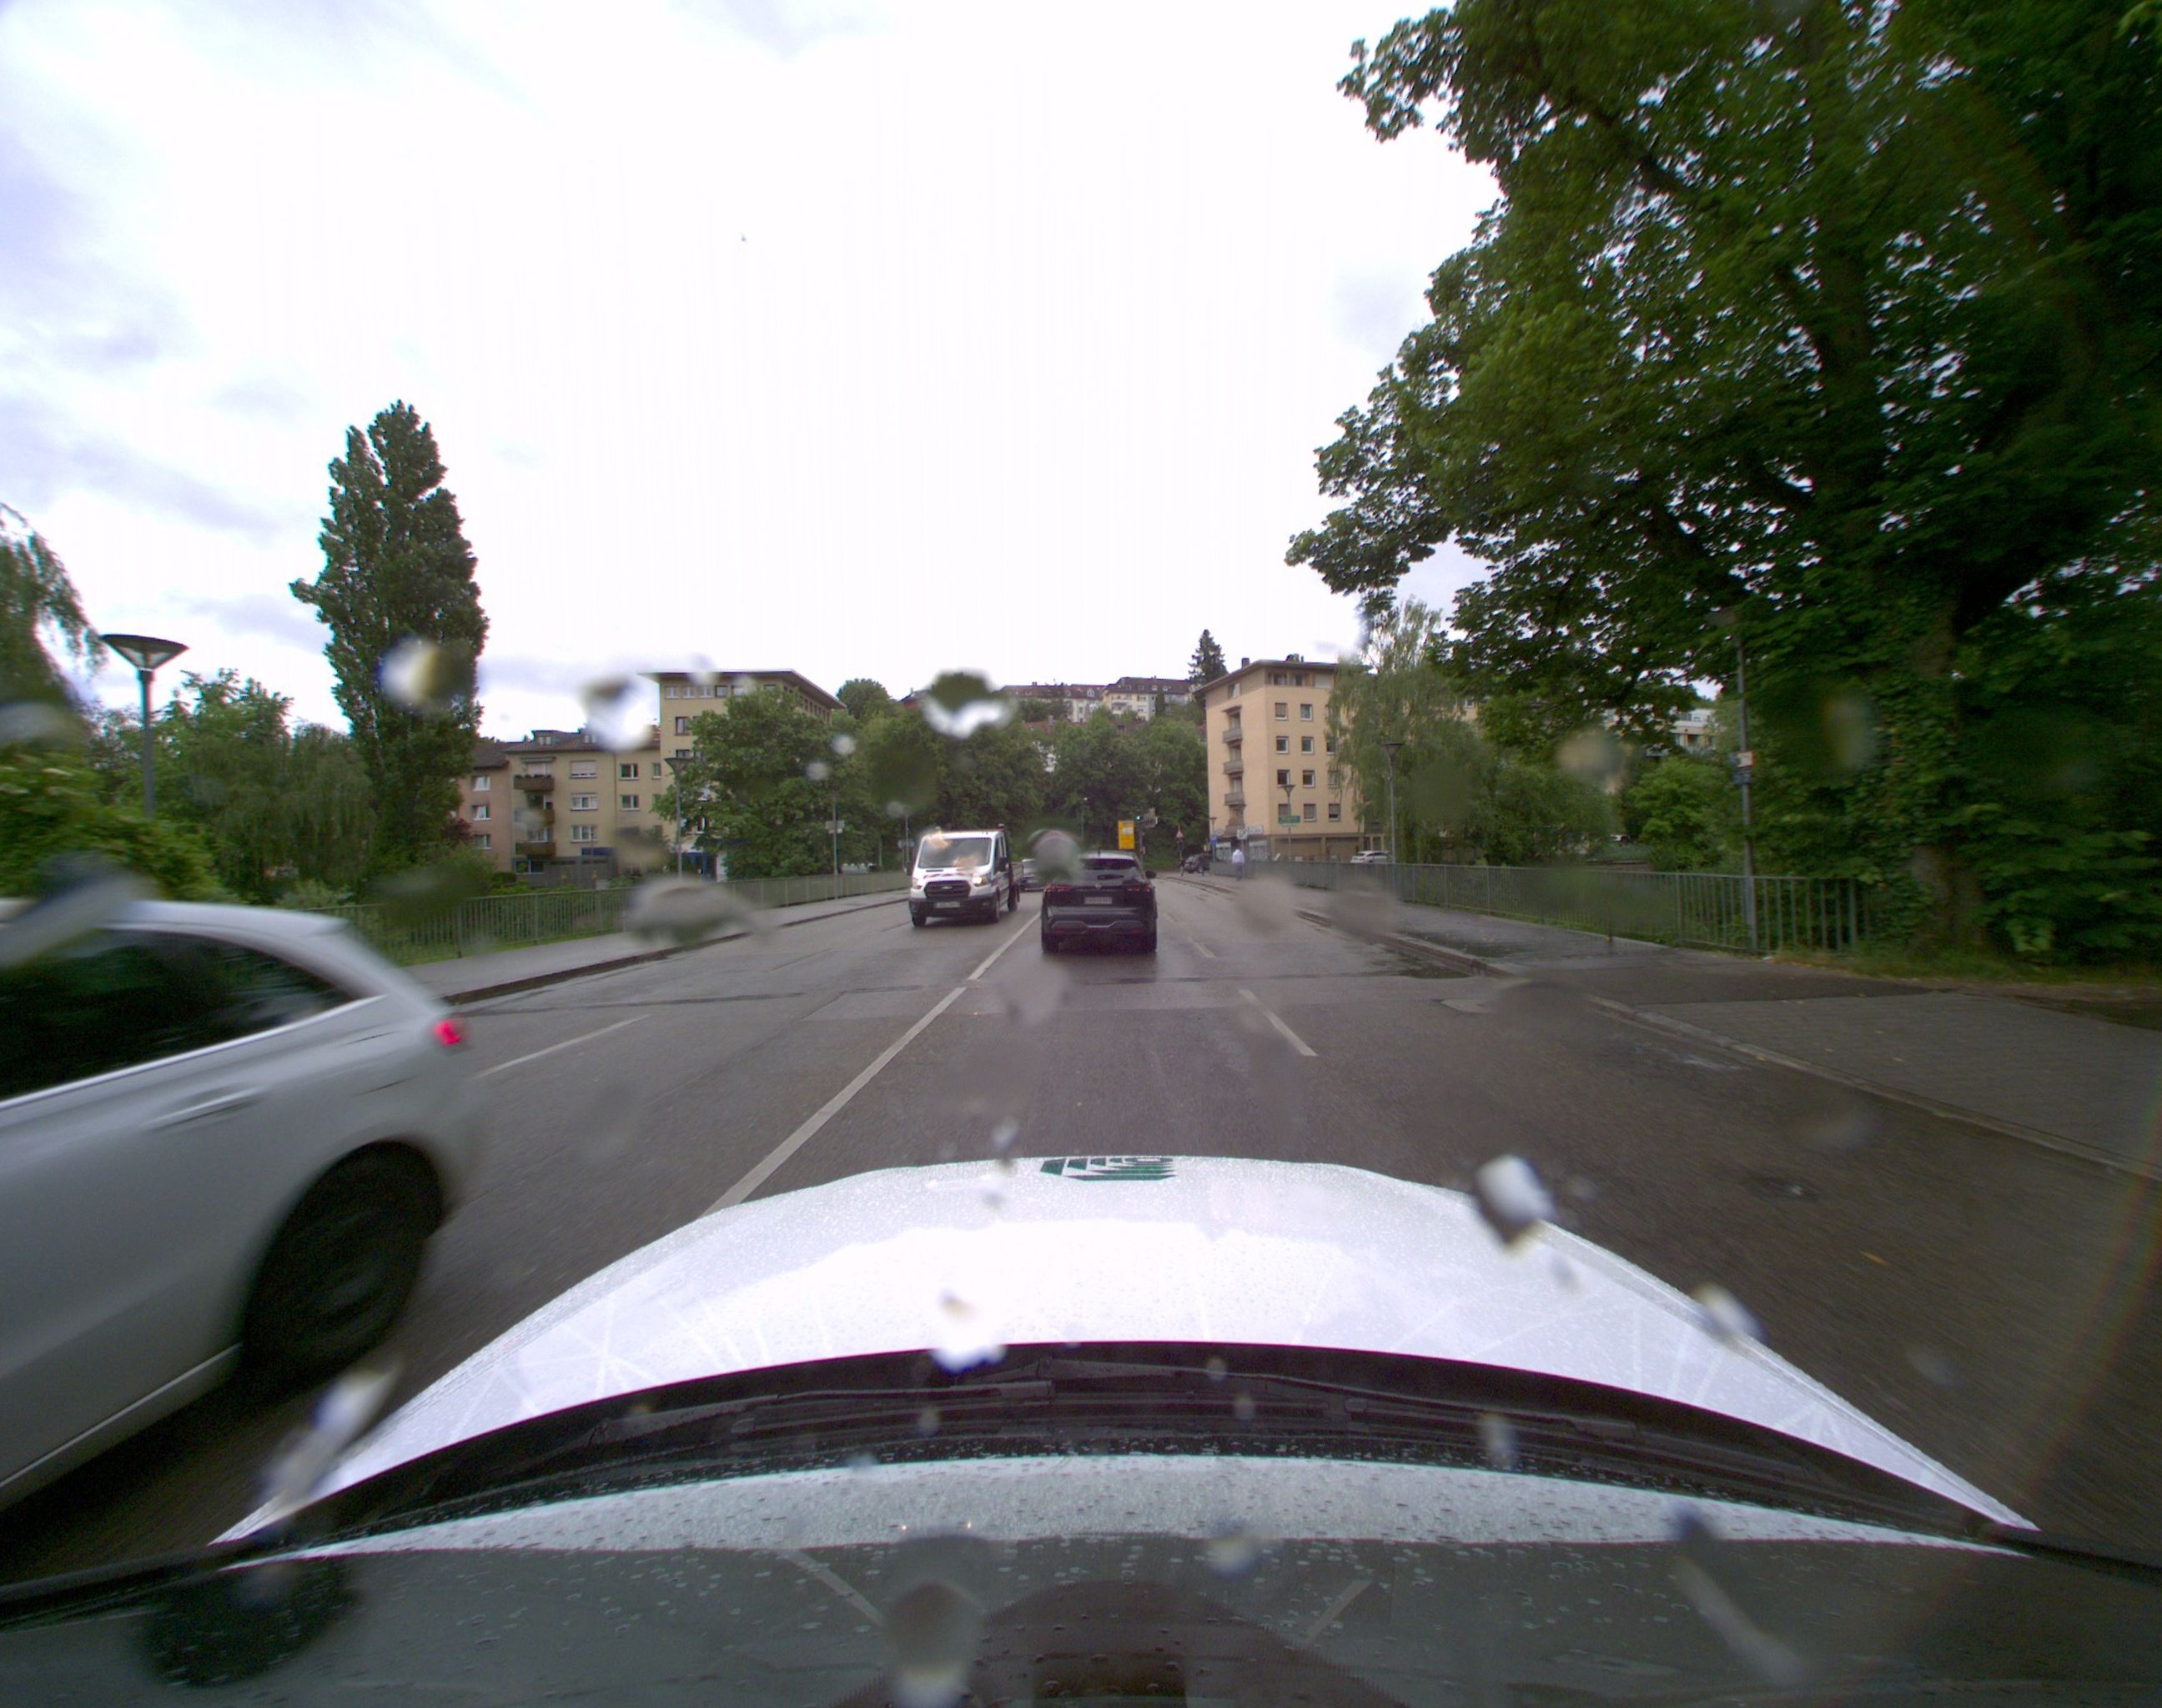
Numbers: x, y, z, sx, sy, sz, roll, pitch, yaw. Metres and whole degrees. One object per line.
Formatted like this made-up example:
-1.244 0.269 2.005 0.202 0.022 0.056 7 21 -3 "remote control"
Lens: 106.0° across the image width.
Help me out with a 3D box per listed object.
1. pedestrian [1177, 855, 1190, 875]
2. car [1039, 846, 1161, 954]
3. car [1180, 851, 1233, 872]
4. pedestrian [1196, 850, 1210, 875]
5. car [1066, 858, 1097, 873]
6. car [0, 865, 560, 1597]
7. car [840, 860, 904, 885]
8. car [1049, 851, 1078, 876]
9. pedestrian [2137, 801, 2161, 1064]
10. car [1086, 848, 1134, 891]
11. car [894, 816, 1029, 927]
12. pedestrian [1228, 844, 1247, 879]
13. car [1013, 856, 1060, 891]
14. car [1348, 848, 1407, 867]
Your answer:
8.297 0.897 66.046 0.859 1.619 0.840 -3 -1 1 "pedestrian"
0.338 0.679 14.159 1.804 1.603 4.001 -1 0 2 "car"
11.374 0.640 73.692 4.387 1.649 1.868 -3 -1 -24 "car"
8.633 0.605 57.683 0.758 1.677 0.781 -4 0 1 "pedestrian"
0.015 1.207 83.755 1.717 1.416 4.062 -3 -1 -23 "car"
-3.159 0.843 1.330 1.775 1.474 4.168 -3 0 1 "car"
-17.011 1.477 66.487 4.738 1.854 1.995 -1 1 -7 "car"
-1.314 0.725 62.116 1.881 1.735 4.373 -3 0 2 "car"
7.257 0.472 4.641 0.844 1.676 1.168 -4 -1 1 "pedestrian"
1.148 0.589 32.875 1.804 1.603 4.001 0 0 2 "car"
-2.817 0.360 21.093 2.281 2.308 6.511 -3 0 1 "car"
8.191 0.385 42.639 0.777 1.752 1.061 -2 -1 1 "pedestrian"
-2.006 0.865 37.431 1.739 1.439 4.002 -2 0 2 "car"
24.937 0.264 68.481 4.447 1.376 1.808 -2 2 -15 "car"
